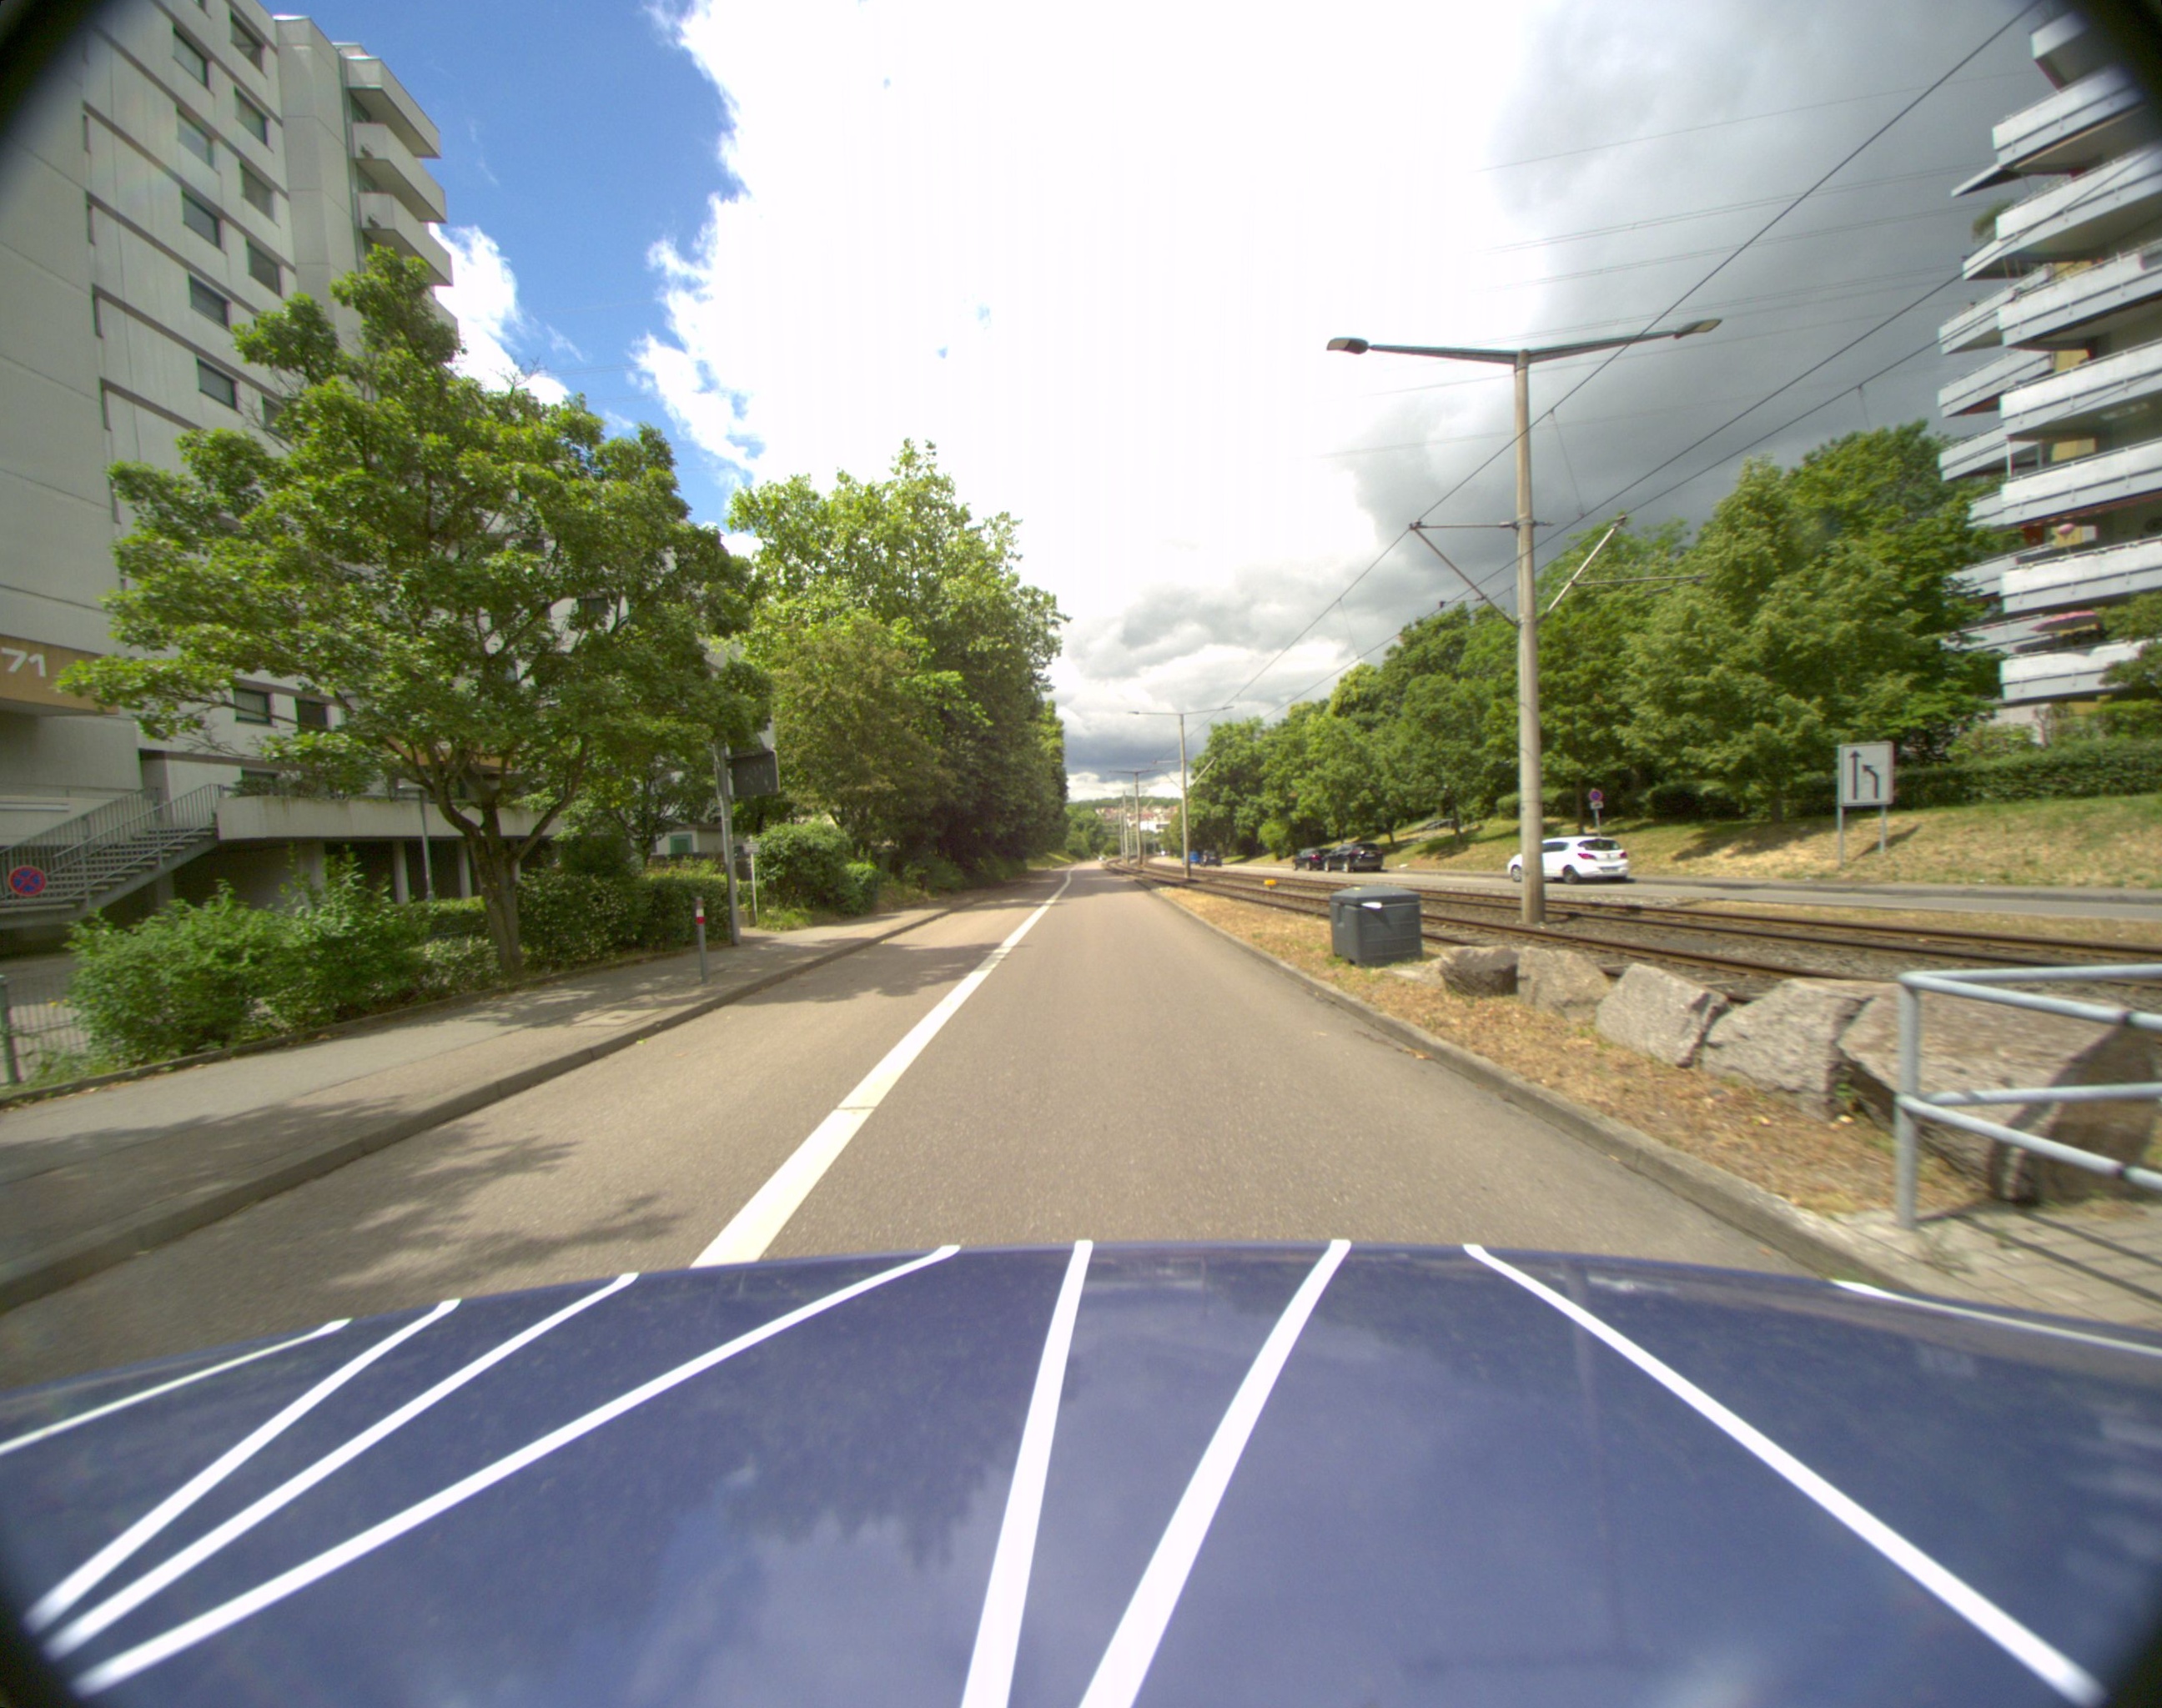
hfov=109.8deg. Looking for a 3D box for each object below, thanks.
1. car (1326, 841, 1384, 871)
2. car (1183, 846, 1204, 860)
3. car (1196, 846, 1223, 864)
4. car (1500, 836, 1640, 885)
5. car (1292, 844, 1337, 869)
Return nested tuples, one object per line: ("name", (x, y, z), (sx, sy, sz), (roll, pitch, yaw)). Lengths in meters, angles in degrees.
("car", (14.886, 0.120, 41.431), (1.659, 1.503, 3.736), (-2, 0, -2))
("car", (12.468, -0.099, 84.700), (1.636, 1.446, 3.736), (-2, 0, -2))
("car", (11.704, 0.068, 69.288), (1.659, 1.503, 3.736), (-2, 0, -2))
("car", (15.668, 0.197, 24.625), (1.659, 1.410, 3.998), (-2, 0, -5))
("car", (14.638, 0.144, 47.751), (1.605, 1.431, 3.469), (-3, 0, -2))
